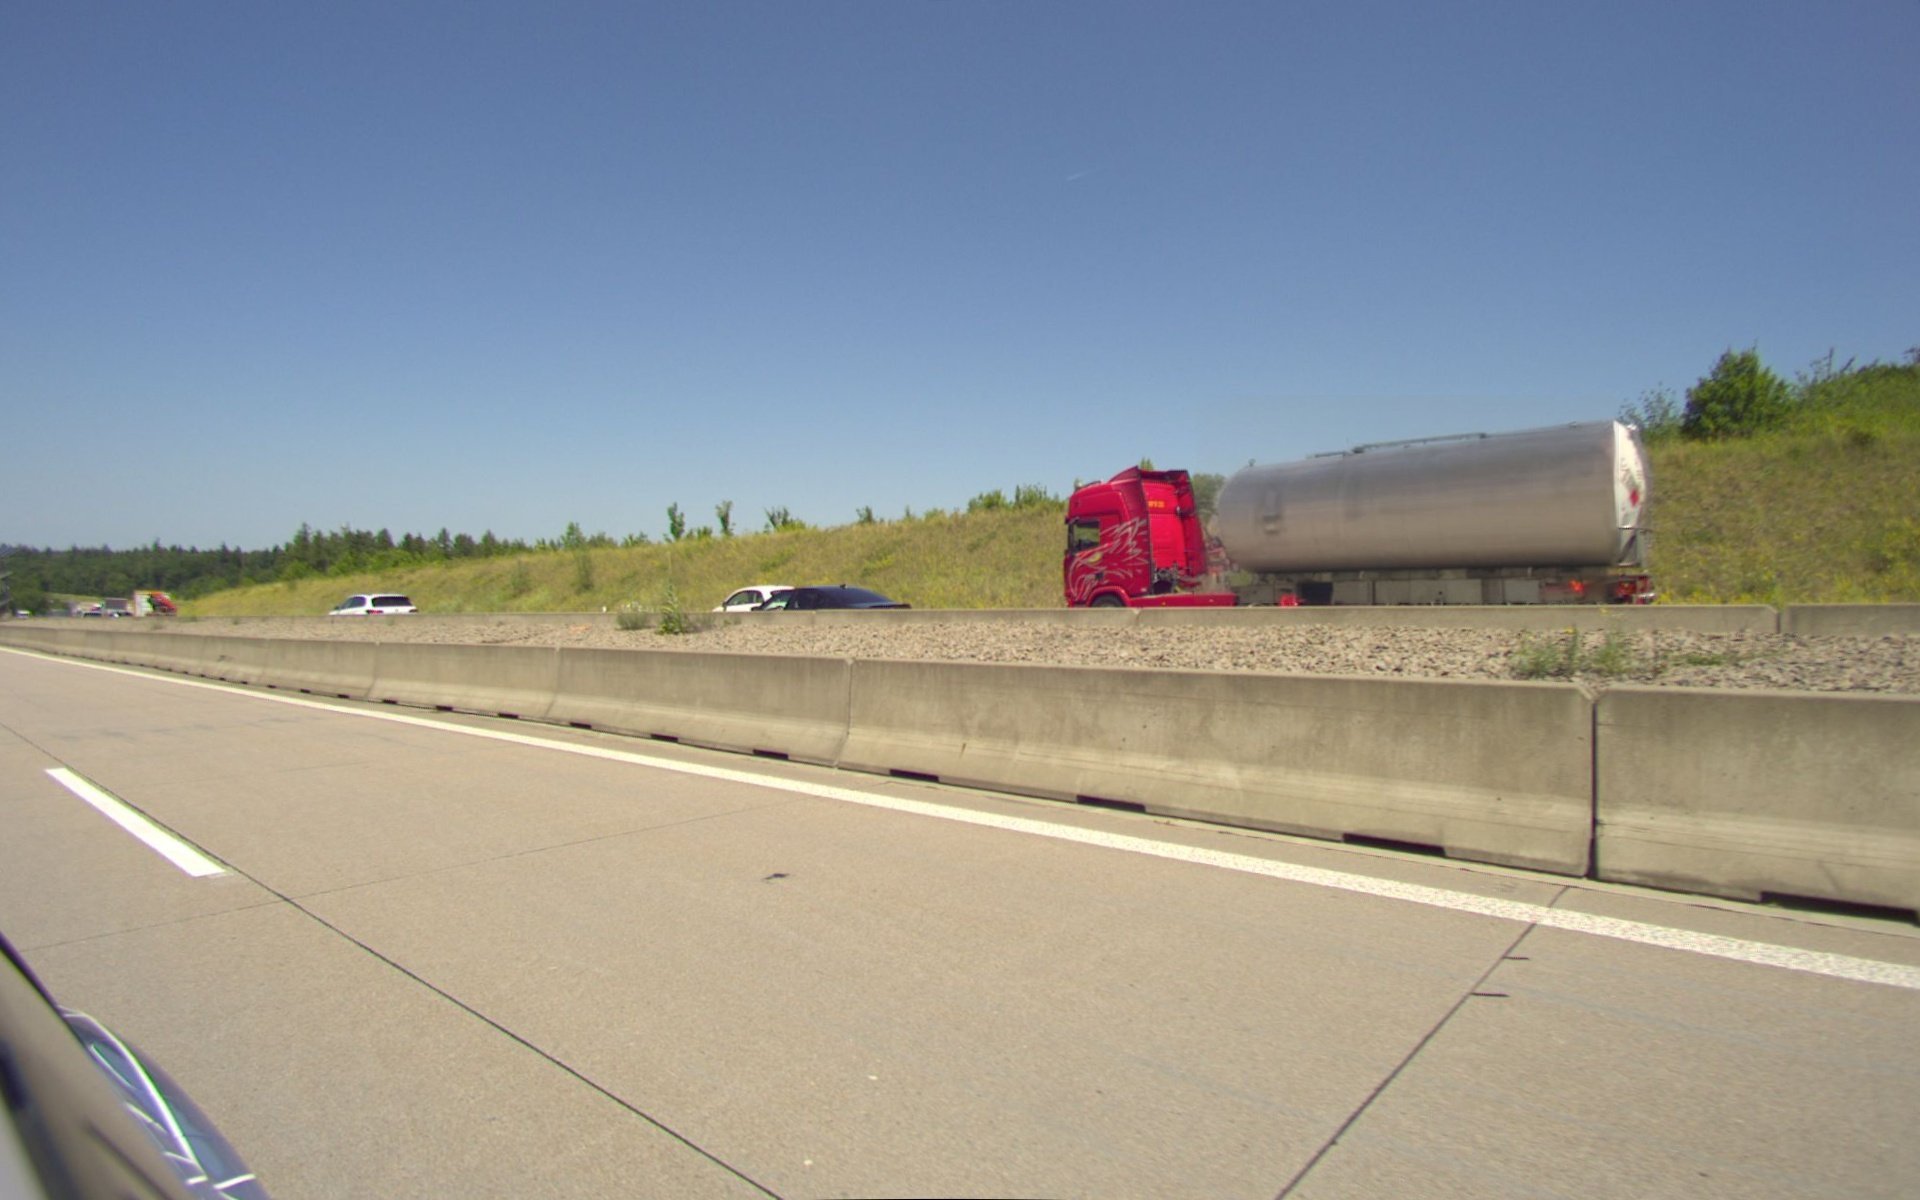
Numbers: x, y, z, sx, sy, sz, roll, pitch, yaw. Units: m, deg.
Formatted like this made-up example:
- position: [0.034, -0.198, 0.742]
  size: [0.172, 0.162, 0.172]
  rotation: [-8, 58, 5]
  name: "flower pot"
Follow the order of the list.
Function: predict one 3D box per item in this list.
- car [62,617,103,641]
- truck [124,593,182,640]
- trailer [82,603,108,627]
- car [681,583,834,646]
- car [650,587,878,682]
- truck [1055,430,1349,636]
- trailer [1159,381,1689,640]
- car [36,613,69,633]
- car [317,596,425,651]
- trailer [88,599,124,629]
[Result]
- position: [-74.549, 2.436, 85.936]
  size: [4.457, 2.029, 1.973]
  rotation: [-1, -2, 41]
  name: "car"
- position: [-83.115, 1.741, 104.167]
  size: [11.257, 4.548, 2.882]
  rotation: [-1, -2, 43]
  name: "truck"
- position: [-153.882, 2.671, 179.949]
  size: [2.899, 4.200, 14.402]
  rotation: [-1, 0, -43]
  name: "trailer"
- position: [-5.604, 0.383, 27.761]
  size: [4.178, 1.595, 1.972]
  rotation: [-1, 0, 42]
  name: "car"
- position: [-3.817, 0.603, 19.272]
  size: [4.462, 1.595, 1.972]
  rotation: [-1, 0, 42]
  name: "car"
- position: [5.520, -1.351, 23.656]
  size: [5.980, 4.200, 2.903]
  rotation: [-1, 0, 42]
  name: "truck"
- position: [8.917, -1.413, 20.612]
  size: [9.331, 4.200, 2.902]
  rotation: [-1, 0, 42]
  name: "trailer"
- position: [-94.847, 2.449, 105.740]
  size: [4.457, 2.029, 1.973]
  rotation: [-1, -2, 41]
  name: "car"
- position: [-21.687, 0.847, 37.187]
  size: [4.966, 1.887, 1.972]
  rotation: [-1, 0, 42]
  name: "car"
- position: [-125.554, 2.055, 148.681]
  size: [13.196, 4.200, 2.900]
  rotation: [-1, 0, 45]
  name: "trailer"
